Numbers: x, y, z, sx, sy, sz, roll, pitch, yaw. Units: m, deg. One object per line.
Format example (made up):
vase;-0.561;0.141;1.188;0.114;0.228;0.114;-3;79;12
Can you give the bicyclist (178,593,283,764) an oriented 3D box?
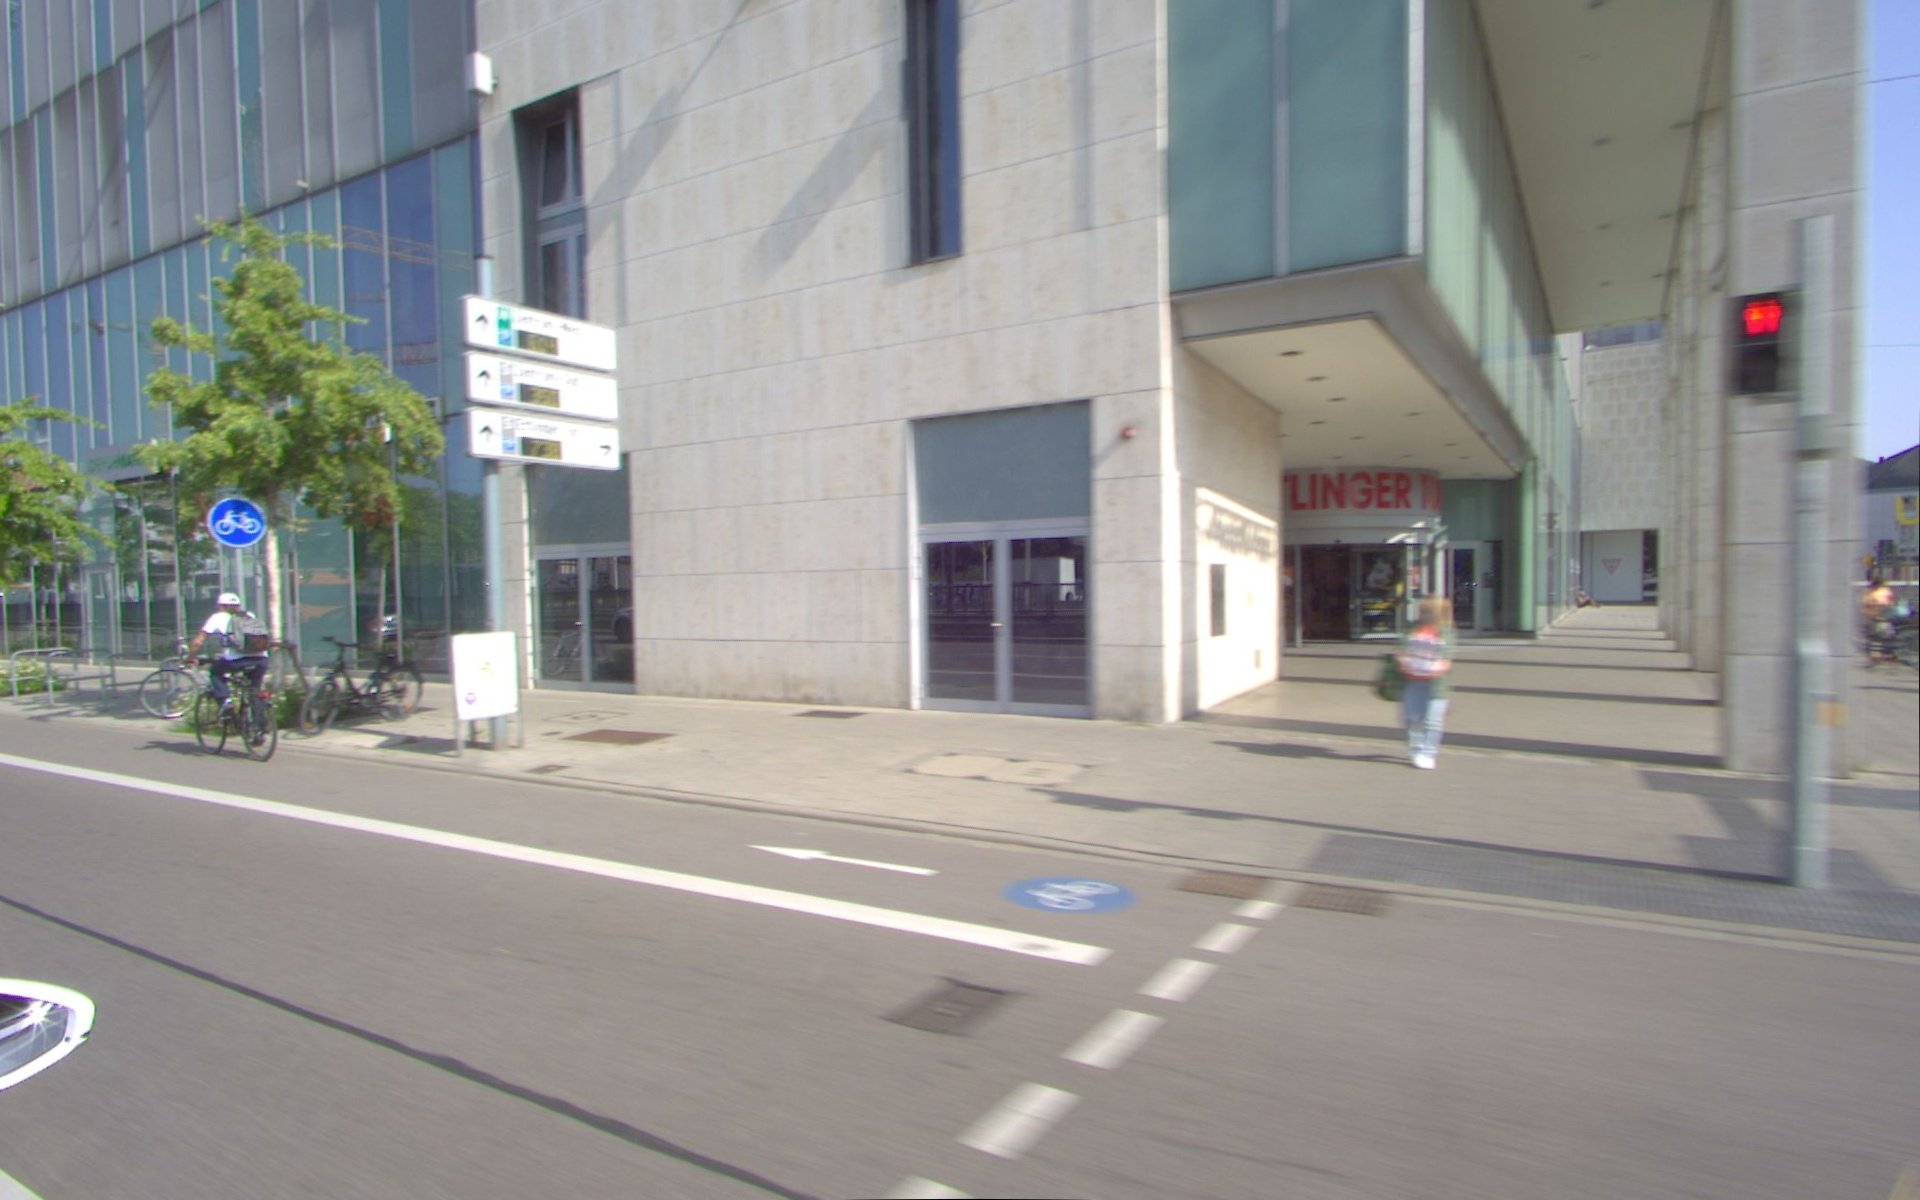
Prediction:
bicyclist;-7.886;0.813;10.835;0.758;1.772;0.649;0;2;32

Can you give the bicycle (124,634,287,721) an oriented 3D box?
bicycle;-11.189;1.114;14.922;0.483;1.124;1.874;0;1;31

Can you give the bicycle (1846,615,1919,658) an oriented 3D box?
bicycle;21.319;0.823;22.761;1.690;0.969;0.458;0;1;30

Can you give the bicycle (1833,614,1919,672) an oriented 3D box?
bicycle;16.189;0.730;17.153;1.833;0.969;0.456;0;1;40

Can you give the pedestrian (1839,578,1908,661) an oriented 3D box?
pedestrian;16.947;0.353;18.590;0.724;1.505;0.602;-1;1;0

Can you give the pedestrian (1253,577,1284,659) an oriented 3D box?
pedestrian;6.496;0.369;21.115;0.496;1.701;0.455;-1;2;-5

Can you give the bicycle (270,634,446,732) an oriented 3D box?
bicycle;-7.652;1.015;12.815;0.677;1.127;1.836;0;0;32

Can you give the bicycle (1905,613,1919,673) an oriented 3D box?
bicycle;16.559;0.712;16.182;1.833;0.969;0.456;0;1;40

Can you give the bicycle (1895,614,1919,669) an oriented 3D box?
bicycle;17.569;0.735;17.585;1.649;0.969;0.456;0;1;40

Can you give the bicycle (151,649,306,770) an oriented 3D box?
bicycle;-7.971;1.139;10.890;2.021;1.132;0.659;0;2;33

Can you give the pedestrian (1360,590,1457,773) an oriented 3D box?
pedestrian;3.919;0.673;8.743;0.597;1.507;0.704;1;2;40
